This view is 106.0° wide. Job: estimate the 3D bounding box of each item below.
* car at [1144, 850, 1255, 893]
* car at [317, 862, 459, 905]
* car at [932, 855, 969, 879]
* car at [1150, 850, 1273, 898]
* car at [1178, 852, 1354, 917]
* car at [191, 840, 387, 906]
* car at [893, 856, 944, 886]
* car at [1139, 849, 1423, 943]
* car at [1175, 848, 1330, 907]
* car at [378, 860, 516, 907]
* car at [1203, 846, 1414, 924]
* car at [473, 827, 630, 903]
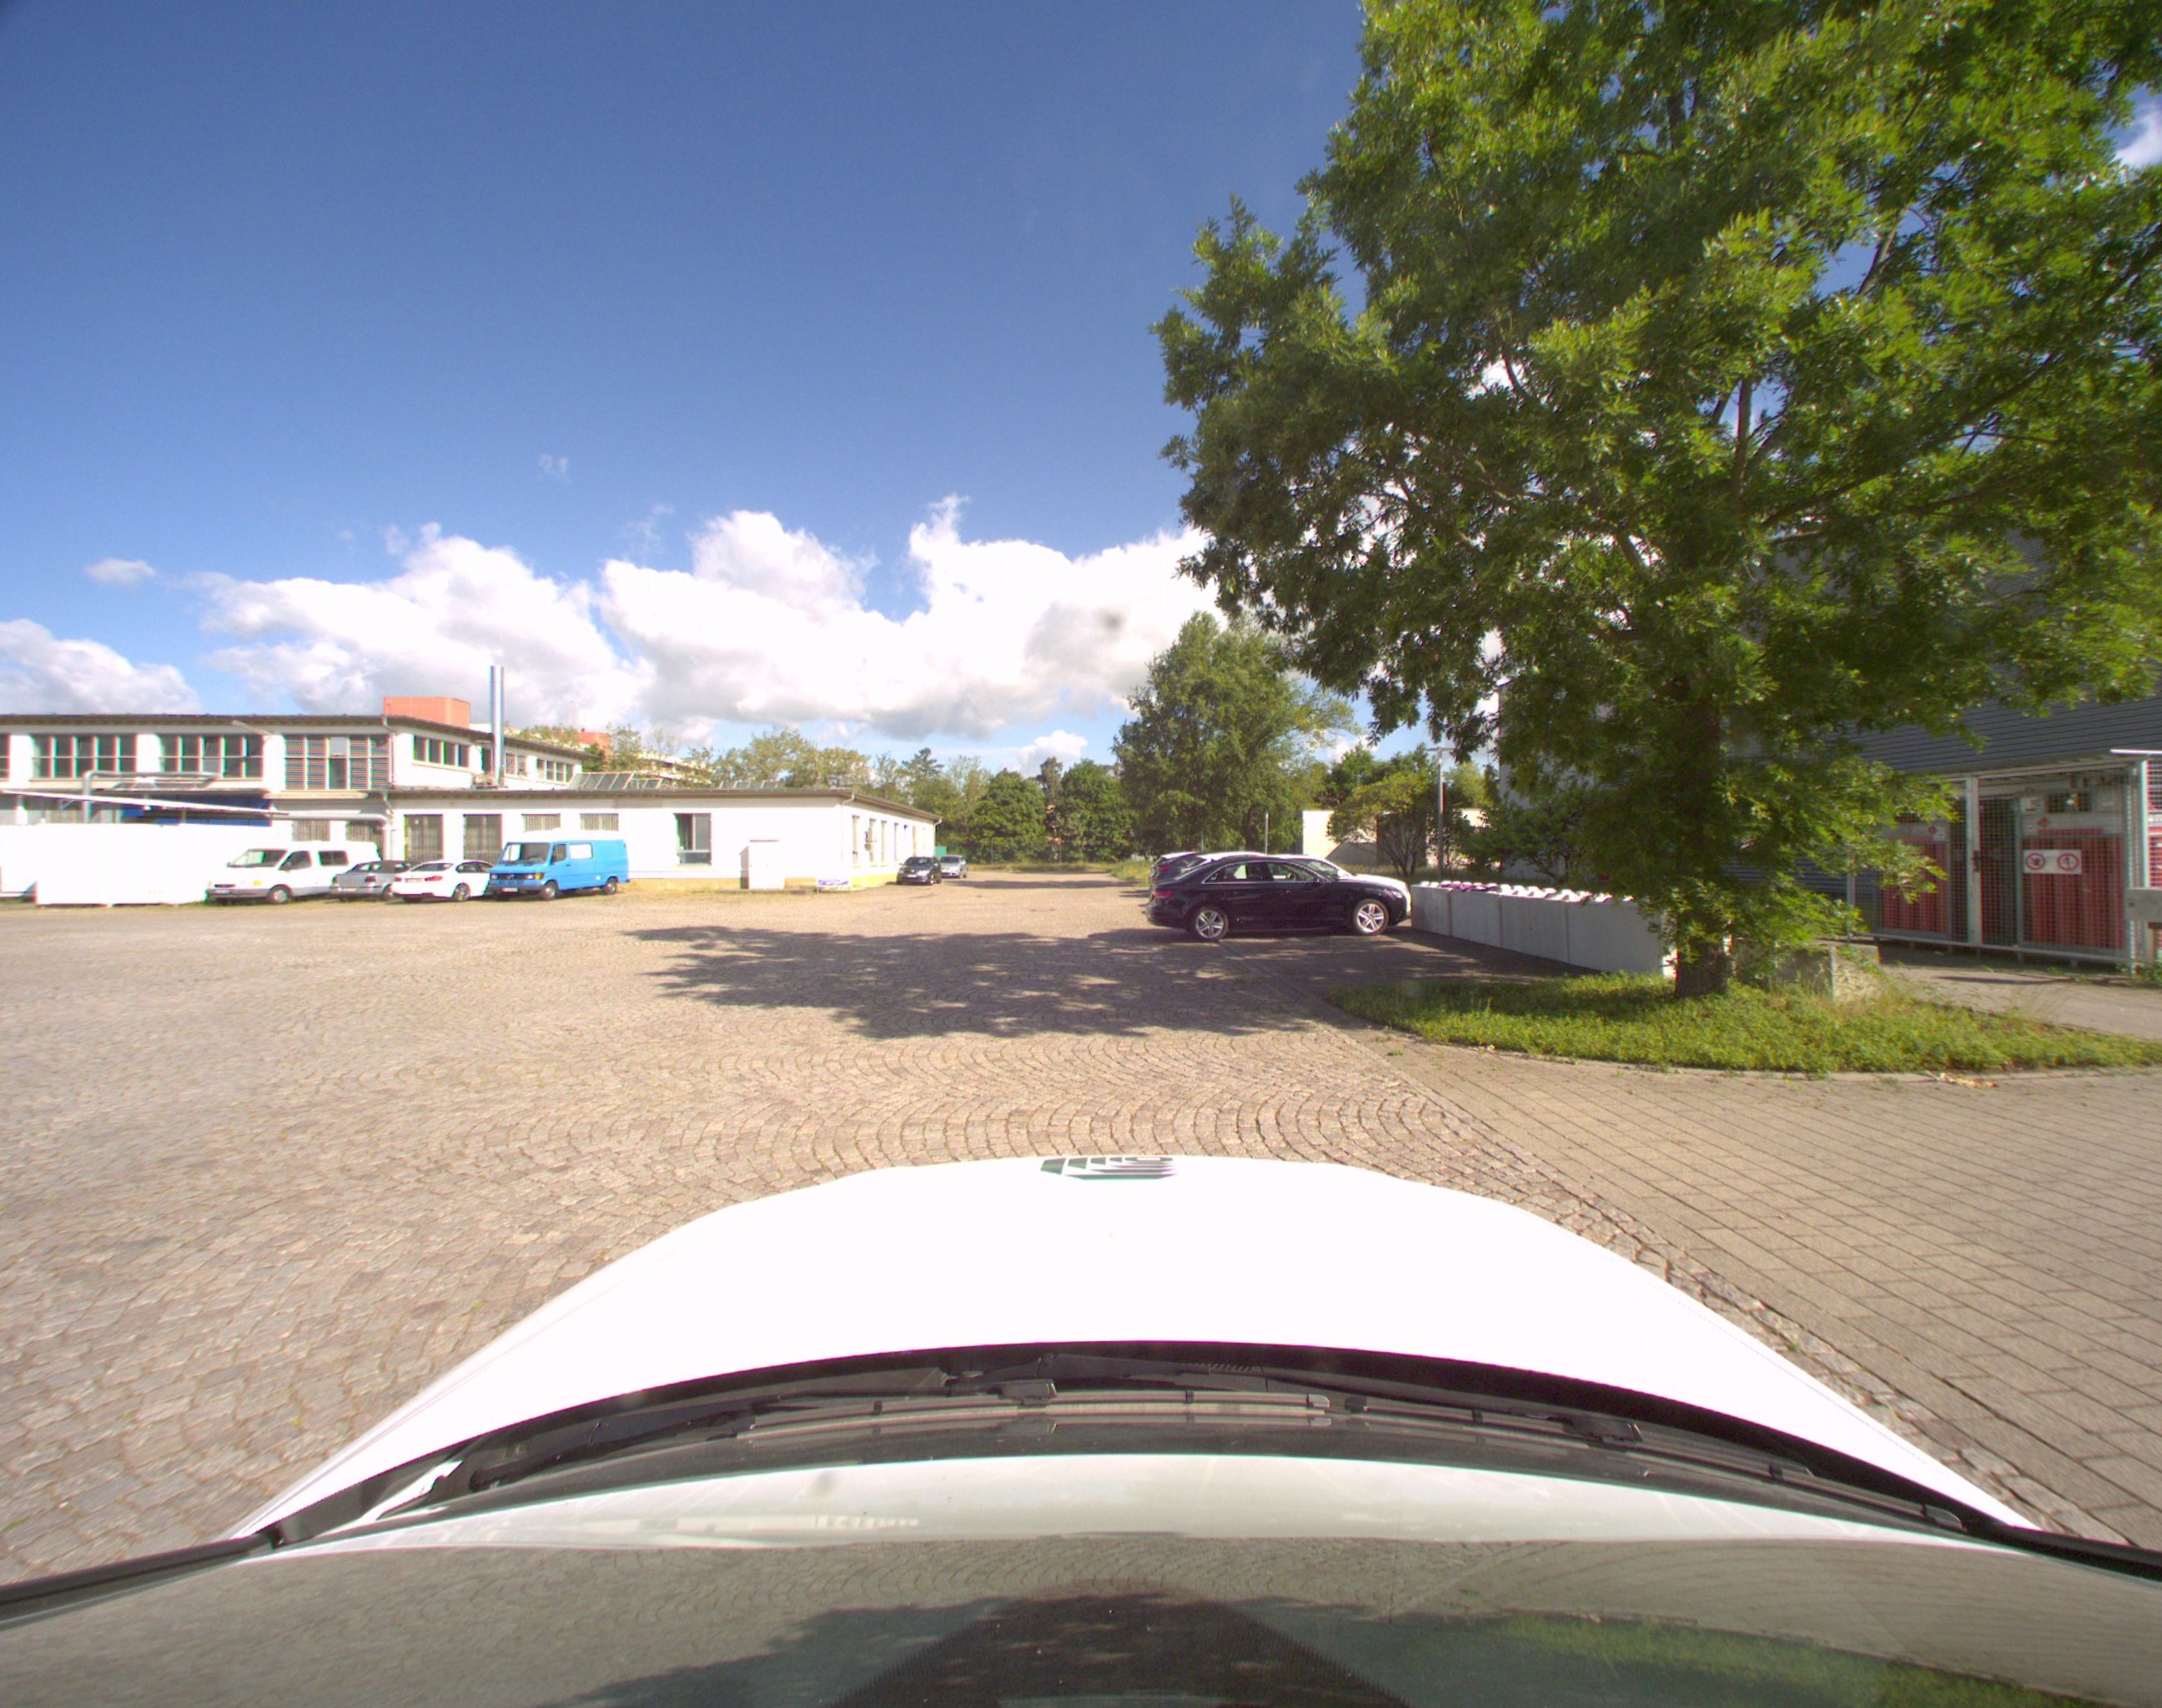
[{"bbox_3d":[4.385,0.631,30.629,3.900,1.435,1.795,-2,0,0],"label":"car"},{"bbox_3d":[-24.538,1.001,29.035,1.680,1.398,3.833,0,0,2],"label":"car"},{"bbox_3d":[-8.169,0.809,51.349,1.681,1.435,3.986,0,0,0],"label":"car"},{"bbox_3d":[4.396,0.665,27.815,3.900,1.417,1.692,-2,0,0],"label":"car"},{"bbox_3d":[4.468,0.723,20.066,3.900,1.372,1.728,-2,0,0],"label":"car"},{"bbox_3d":[-27.418,0.625,28.474,1.995,2.081,4.808,-1,0,2],"label":"car"},{"bbox_3d":[-8.185,0.832,41.395,1.758,1.435,3.992,0,0,0],"label":"car"},{"bbox_3d":[3.512,0.716,14.859,4.706,1.423,1.756,-2,0,-2],"label":"car"},{"bbox_3d":[4.688,0.626,22.643,3.900,1.446,1.755,-2,0,0],"label":"car"},{"bbox_3d":[-21.745,0.966,28.133,1.725,1.405,3.741,-1,1,2],"label":"car"},{"bbox_3d":[4.783,0.653,17.614,4.119,1.460,1.693,-2,0,4],"label":"car"},{"bbox_3d":[-18.915,0.359,29.479,2.074,2.483,5.242,-1,0,2],"label":"car"}]
